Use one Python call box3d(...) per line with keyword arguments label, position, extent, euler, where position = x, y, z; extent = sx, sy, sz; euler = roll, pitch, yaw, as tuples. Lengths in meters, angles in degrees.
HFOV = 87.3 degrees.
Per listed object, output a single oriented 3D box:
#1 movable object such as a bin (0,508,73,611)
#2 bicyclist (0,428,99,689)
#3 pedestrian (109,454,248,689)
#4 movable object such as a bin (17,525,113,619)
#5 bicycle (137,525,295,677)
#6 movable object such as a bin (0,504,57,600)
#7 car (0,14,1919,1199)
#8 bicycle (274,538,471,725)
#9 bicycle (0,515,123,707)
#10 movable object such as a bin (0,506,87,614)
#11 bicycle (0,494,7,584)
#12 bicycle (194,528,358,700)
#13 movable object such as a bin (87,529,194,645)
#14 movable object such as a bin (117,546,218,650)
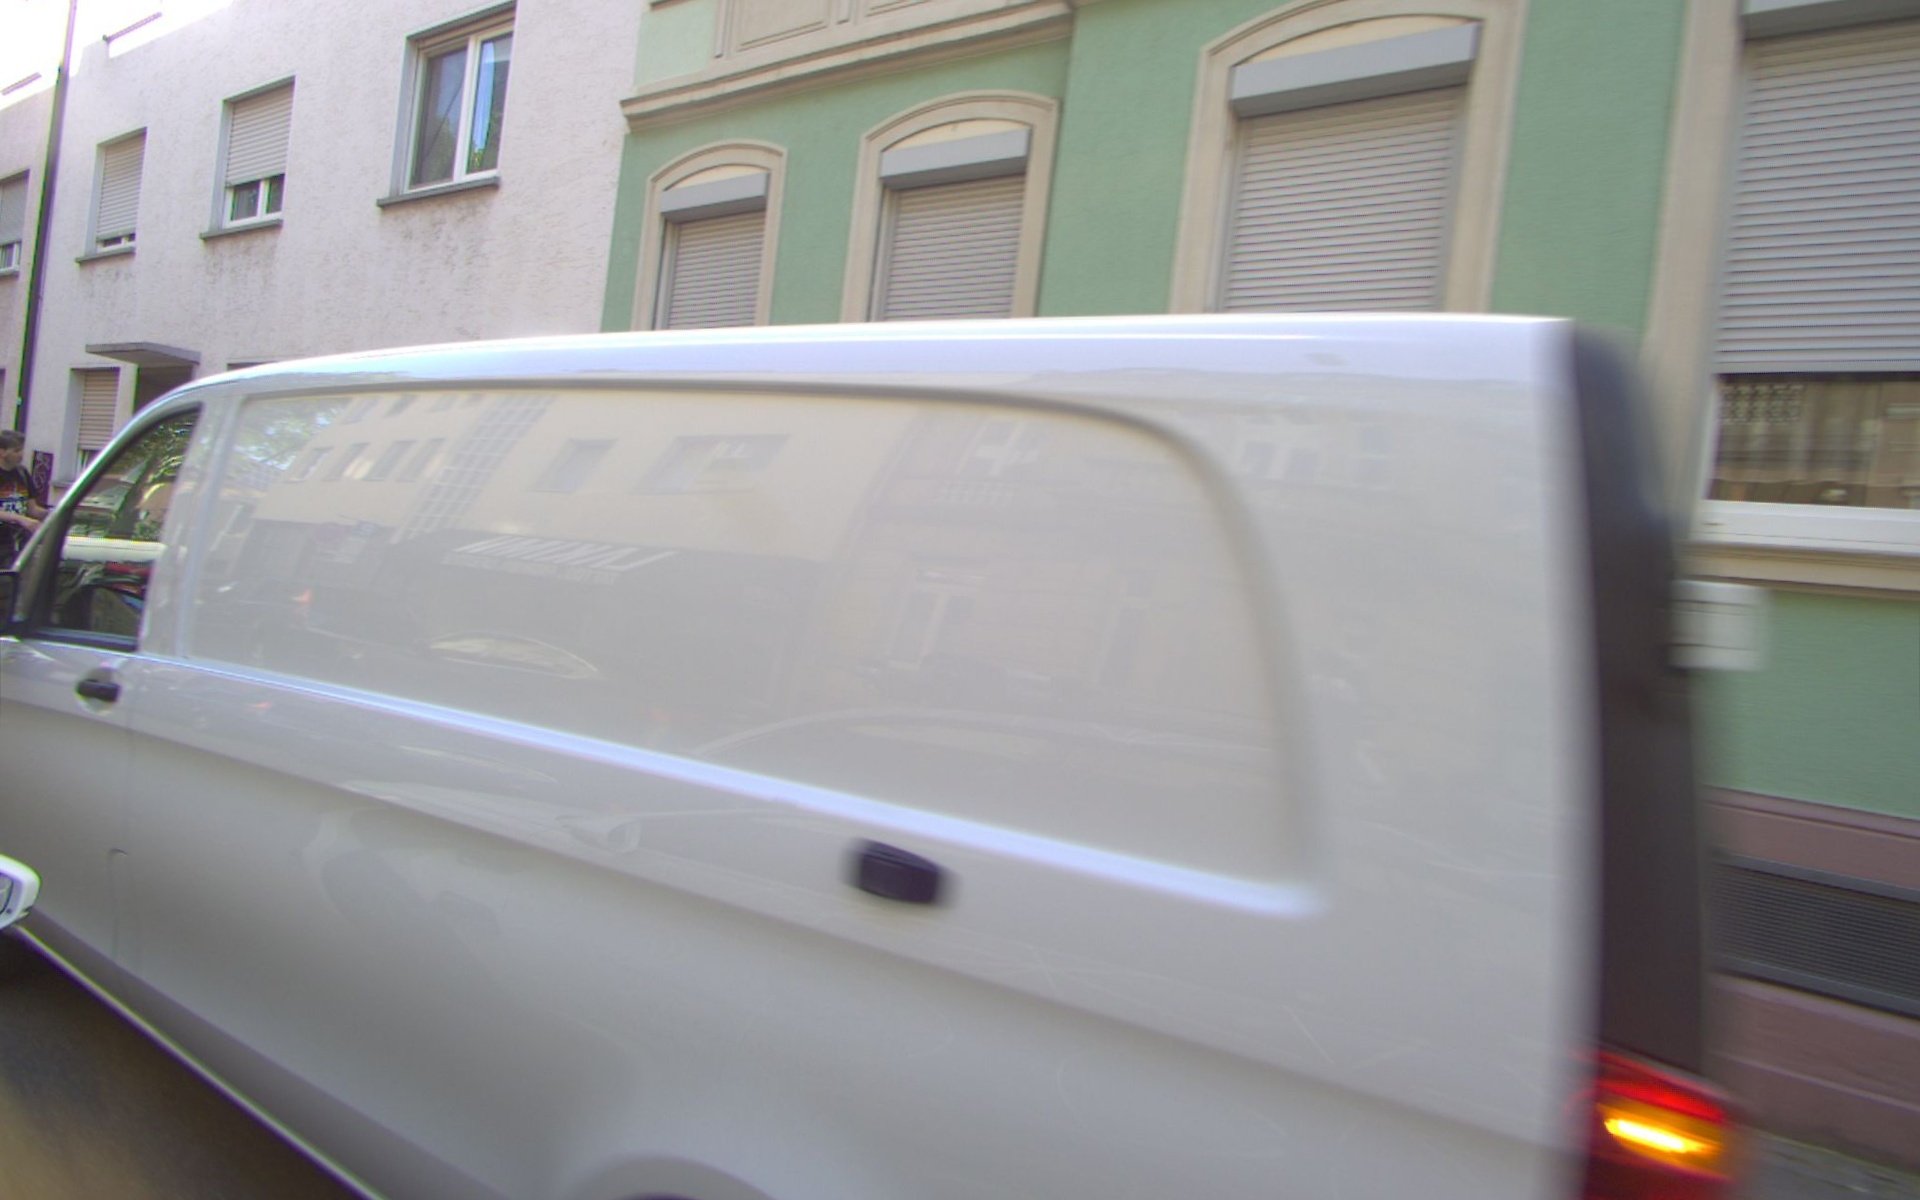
box3d(label="movable object such as a bin", position=(-10.988, -0.484, 11.811), extent=(0.583, 1.119, 0.657), euler=(7, 1, 33))
box3d(label="bicyclist", position=(-6.863, -0.316, 7.206), extent=(0.808, 1.794, 0.760), euler=(8, 3, 30))
box3d(label="pedestrian", position=(-6.165, -0.212, 7.939), extent=(0.677, 1.732, 0.653), euler=(7, 0, 44))
box3d(label="movable object such as a bin", position=(-9.984, -0.303, 11.222), extent=(0.595, 0.946, 0.606), euler=(7, 0, 33))
box3d(label="bicycle", position=(-6.696, -0.015, 9.019), extent=(1.840, 1.167, 0.568), euler=(6, 0, 37))
box3d(label="movable object such as a bin", position=(-11.480, -0.589, 12.113), extent=(0.629, 1.112, 0.738), euler=(6, 3, 33))
box3d(label="car", position=(-1.066, 0.374, 2.788), extent=(5.507, 1.910, 1.982), euler=(7, 4, 32))
box3d(label="bicycle", position=(-4.627, 0.199, 7.846), extent=(2.126, 1.221, 0.405), euler=(6, 0, 36))
box3d(label="bicycle", position=(-6.885, 0.014, 7.251), extent=(1.954, 1.152, 0.663), euler=(8, 4, 31))
box3d(label="movable object such as a bin", position=(-10.530, -0.455, 11.502), extent=(0.560, 1.136, 0.628), euler=(6, 0, 33))
box3d(label="bicycle", position=(-13.699, -0.905, 13.712), extent=(2.042, 1.187, 0.536), euler=(7, 5, 32))
box3d(label="bicycle", position=(-5.791, 0.072, 8.451), extent=(2.233, 1.221, 0.437), euler=(6, 0, 39))
box3d(label="movable object such as a bin", position=(-8.208, -0.124, 10.081), extent=(0.593, 1.076, 0.616), euler=(7, 2, 32))
box3d(label="movable object such as a bin", position=(-7.699, -0.019, 9.778), extent=(0.597, 0.937, 0.577), euler=(7, 3, 32))
